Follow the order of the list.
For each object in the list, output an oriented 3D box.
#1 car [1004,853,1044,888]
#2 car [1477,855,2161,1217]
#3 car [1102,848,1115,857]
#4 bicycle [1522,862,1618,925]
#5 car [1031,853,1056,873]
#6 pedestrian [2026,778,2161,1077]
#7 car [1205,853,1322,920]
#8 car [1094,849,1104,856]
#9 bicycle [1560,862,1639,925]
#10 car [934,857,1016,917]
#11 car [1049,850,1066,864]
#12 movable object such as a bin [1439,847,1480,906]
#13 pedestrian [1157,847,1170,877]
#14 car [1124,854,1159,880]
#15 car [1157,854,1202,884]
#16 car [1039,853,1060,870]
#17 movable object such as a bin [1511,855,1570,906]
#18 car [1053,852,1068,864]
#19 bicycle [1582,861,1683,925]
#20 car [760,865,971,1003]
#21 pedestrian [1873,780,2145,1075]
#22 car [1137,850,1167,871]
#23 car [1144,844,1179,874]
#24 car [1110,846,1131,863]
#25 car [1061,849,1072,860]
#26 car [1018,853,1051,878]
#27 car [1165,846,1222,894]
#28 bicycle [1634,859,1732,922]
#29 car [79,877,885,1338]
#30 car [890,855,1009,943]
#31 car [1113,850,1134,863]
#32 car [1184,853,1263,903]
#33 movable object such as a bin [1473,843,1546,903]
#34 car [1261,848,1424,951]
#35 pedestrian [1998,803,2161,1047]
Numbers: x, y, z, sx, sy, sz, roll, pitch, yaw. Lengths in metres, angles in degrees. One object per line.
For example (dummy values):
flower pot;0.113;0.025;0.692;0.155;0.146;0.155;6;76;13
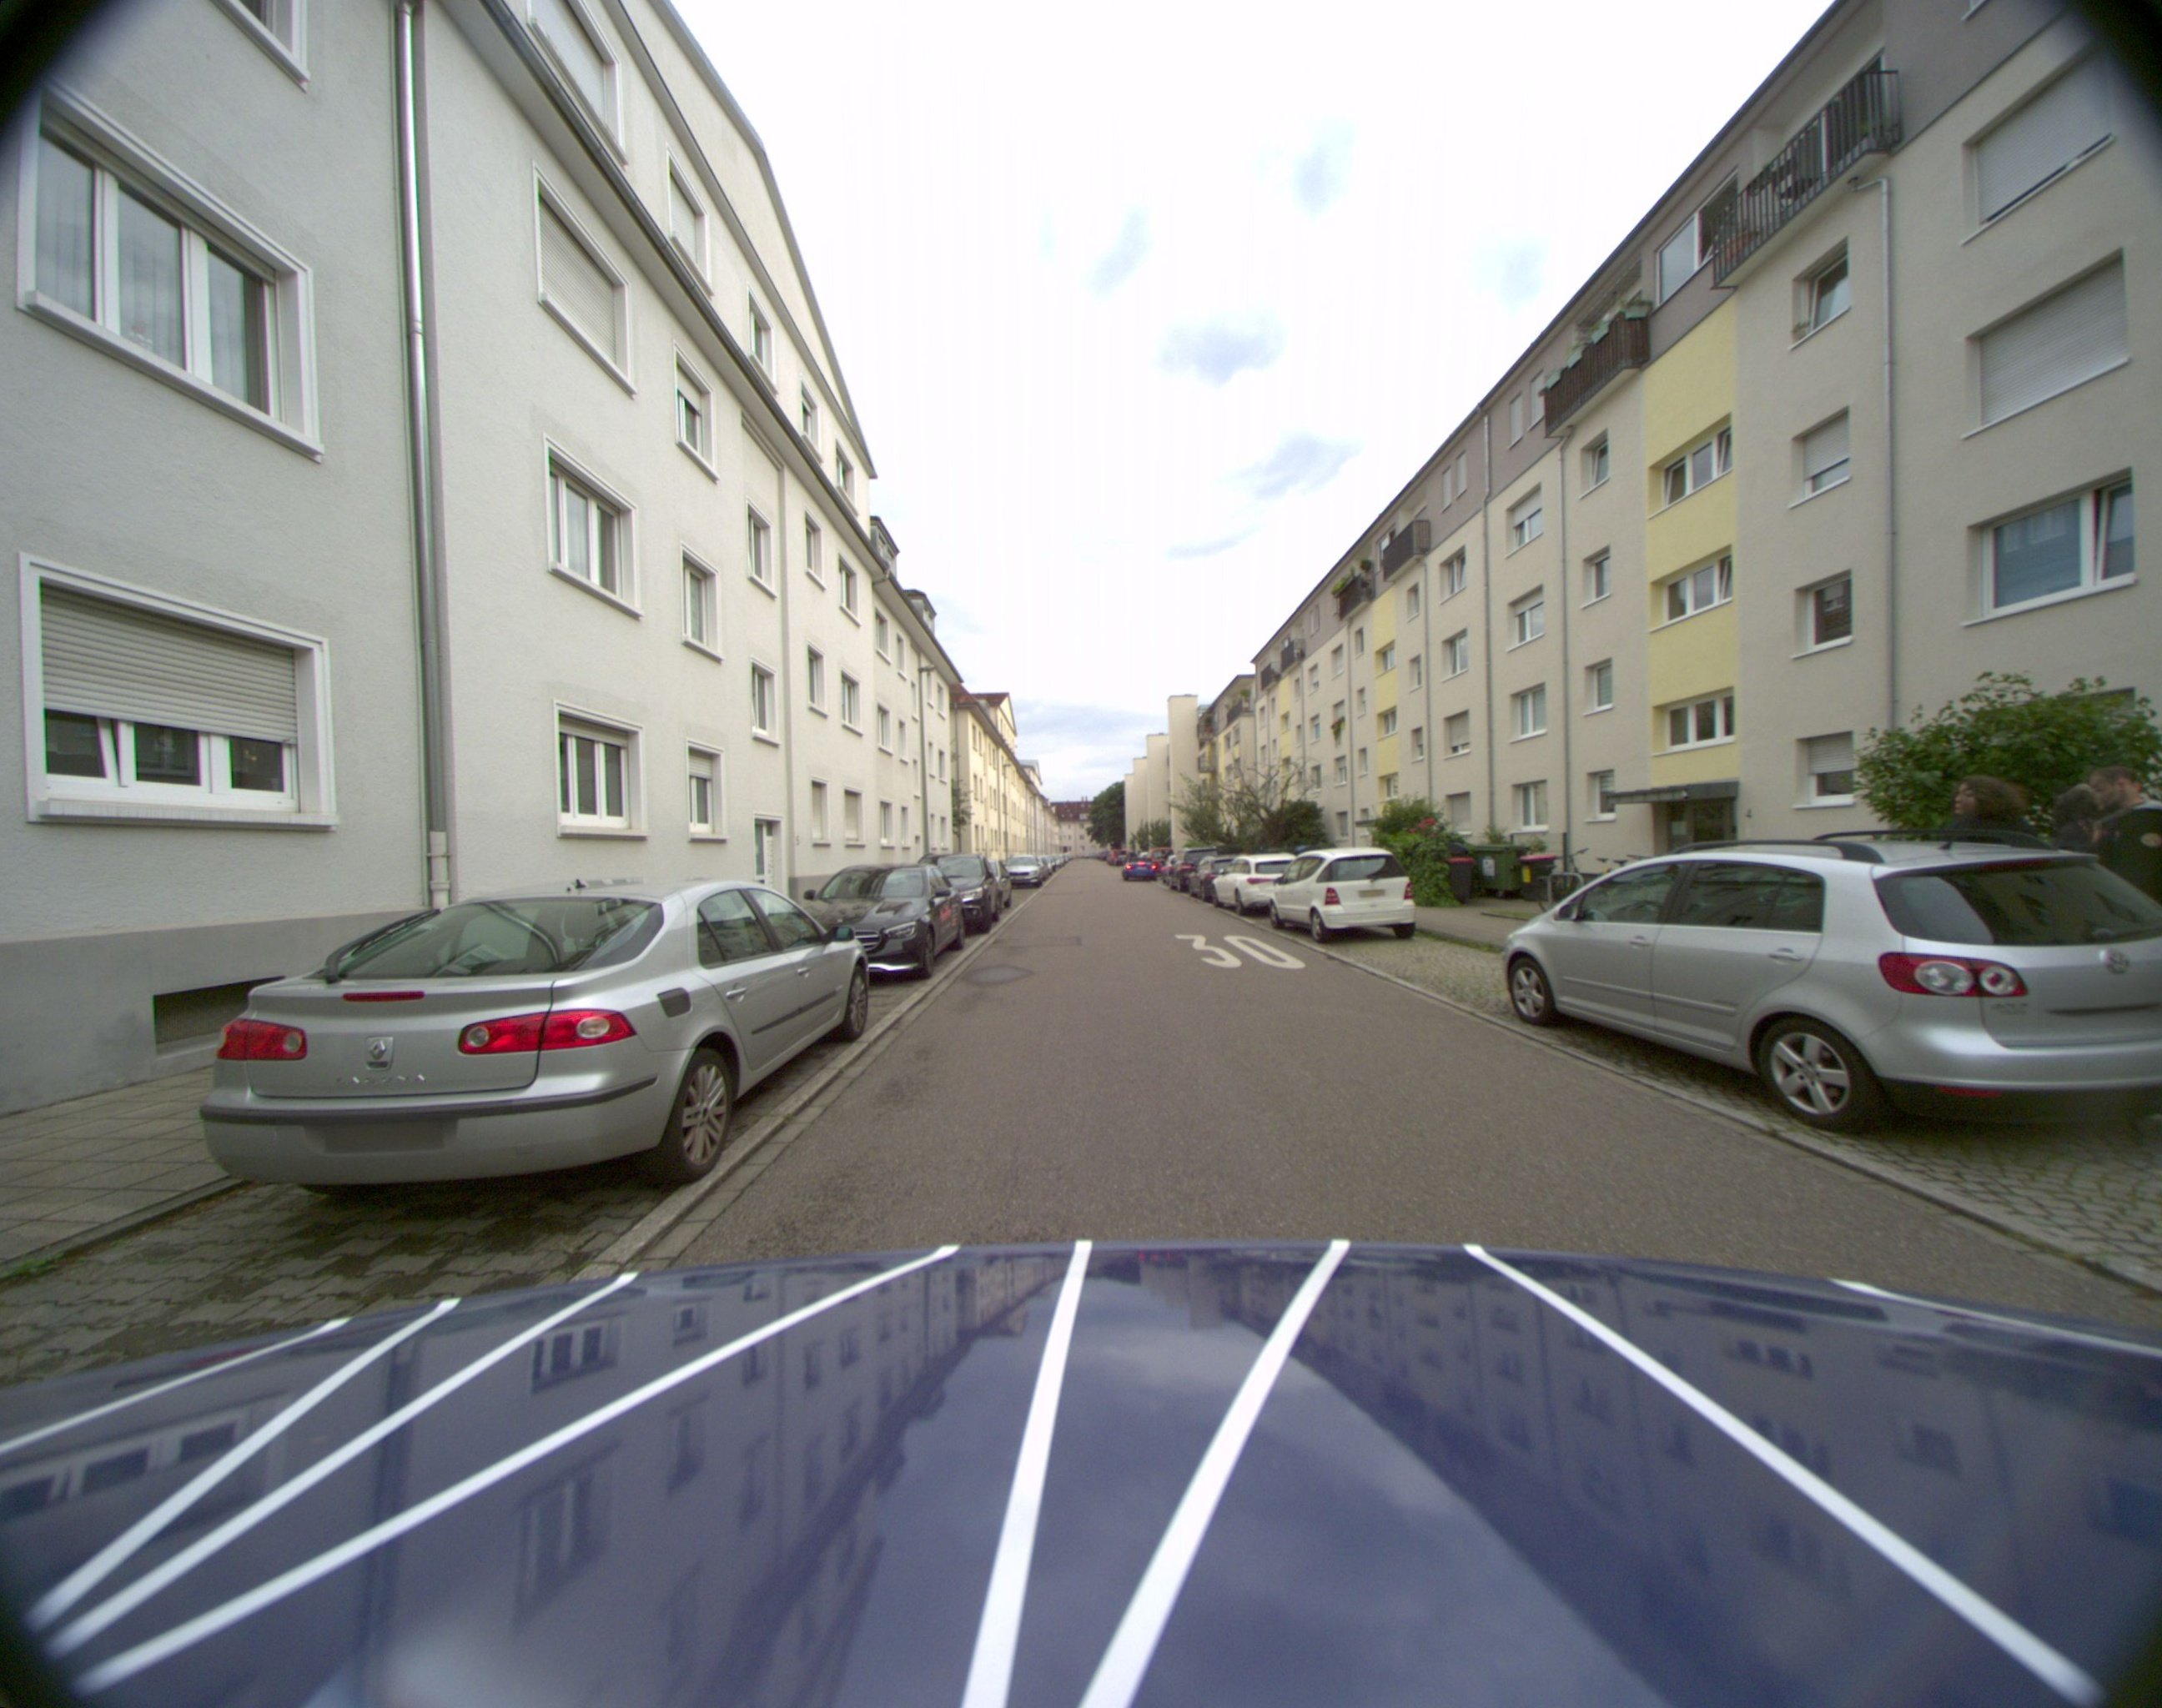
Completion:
car;-2.729;0.777;36.983;1.737;1.538;3.677;-1;1;-1
car;4.688;0.813;5.350;1.658;1.541;3.915;-2;0;-1
car;4.738;-0.238;133.480;1.746;1.534;3.636;-2;0;-6
bicycle;8.695;0.665;13.596;0.489;1.018;1.878;-2;0;0
car;-2.798;0.678;57.139;1.737;1.402;4.217;-1;0;-1
pedestrian;7.009;0.447;4.962;0.708;1.843;0.763;-2;1;0
car;4.603;0.760;19.901;1.723;1.501;4.686;-2;0;-2
car;4.346;-0.324;183.029;1.745;1.534;3.636;-2;0;-6
bicycle;9.175;0.669;13.492;0.357;1.018;1.497;-2;0;-1
car;-2.864;0.835;21.204;1.737;1.478;3.756;-1;0;0
car;-2.565;0.326;84.024;1.737;1.443;4.217;-1;0;-1
movable object such as a bin;9.032;0.518;18.134;0.659;1.360;0.587;-2;2;-4
pedestrian;4.718;0.462;43.627;0.603;1.657;0.622;-2;1;-3
car;3.393;0.714;43.051;1.679;1.307;3.907;-2;1;1
car;4.868;0.732;37.923;1.575;1.389;3.541;-2;0;-2
car;-2.643;0.655;64.848;1.737;1.363;4.217;-1;0;-1
movable object such as a bin;10.627;0.598;17.583;0.871;1.103;0.787;-2;2;-4
car;-2.514;0.459;93.818;1.737;1.443;4.217;-1;0;-1
bicycle;9.671;0.650;13.409;0.479;1.018;1.754;-2;0;-1
car;-2.728;0.927;10.674;1.786;1.454;4.322;-1;0;-1
pedestrian;6.451;0.473;5.351;0.642;1.853;0.974;-3;1;0
car;5.074;0.449;54.663;1.707;1.436;3.541;-2;0;-2
car;5.097;0.319;48.474;1.707;1.795;3.541;-2;0;-2
car;4.902;0.055;94.863;2.188;2.019;4.422;-2;0;-2
car;-2.321;0.070;122.842;1.737;1.670;3.591;-1;0;-1
car;-2.741;0.670;45.896;1.737;1.418;4.217;-1;0;0
car;4.534;0.628;31.112;1.575;1.769;4.452;-2;0;-1
bicycle;10.558;0.615;13.383;0.421;1.018;1.559;-2;0;-3
car;-2.680;0.964;4.910;1.737;1.454;4.430;-1;0;-1
car;-2.627;0.840;16.144;1.853;1.589;4.159;-1;0;-1
car;4.954;0.316;88.629;2.013;1.436;4.196;-2;0;-2
car;4.590;0.717;25.083;1.729;1.445;4.482;-2;1;0
movable object such as a bin;10.486;0.448;18.647;1.059;1.367;1.188;-2;2;-5
car;4.731;0.738;14.298;1.689;1.629;3.727;-2;0;-1
pedestrian;7.492;0.474;5.543;0.616;1.647;0.803;-2;1;0
